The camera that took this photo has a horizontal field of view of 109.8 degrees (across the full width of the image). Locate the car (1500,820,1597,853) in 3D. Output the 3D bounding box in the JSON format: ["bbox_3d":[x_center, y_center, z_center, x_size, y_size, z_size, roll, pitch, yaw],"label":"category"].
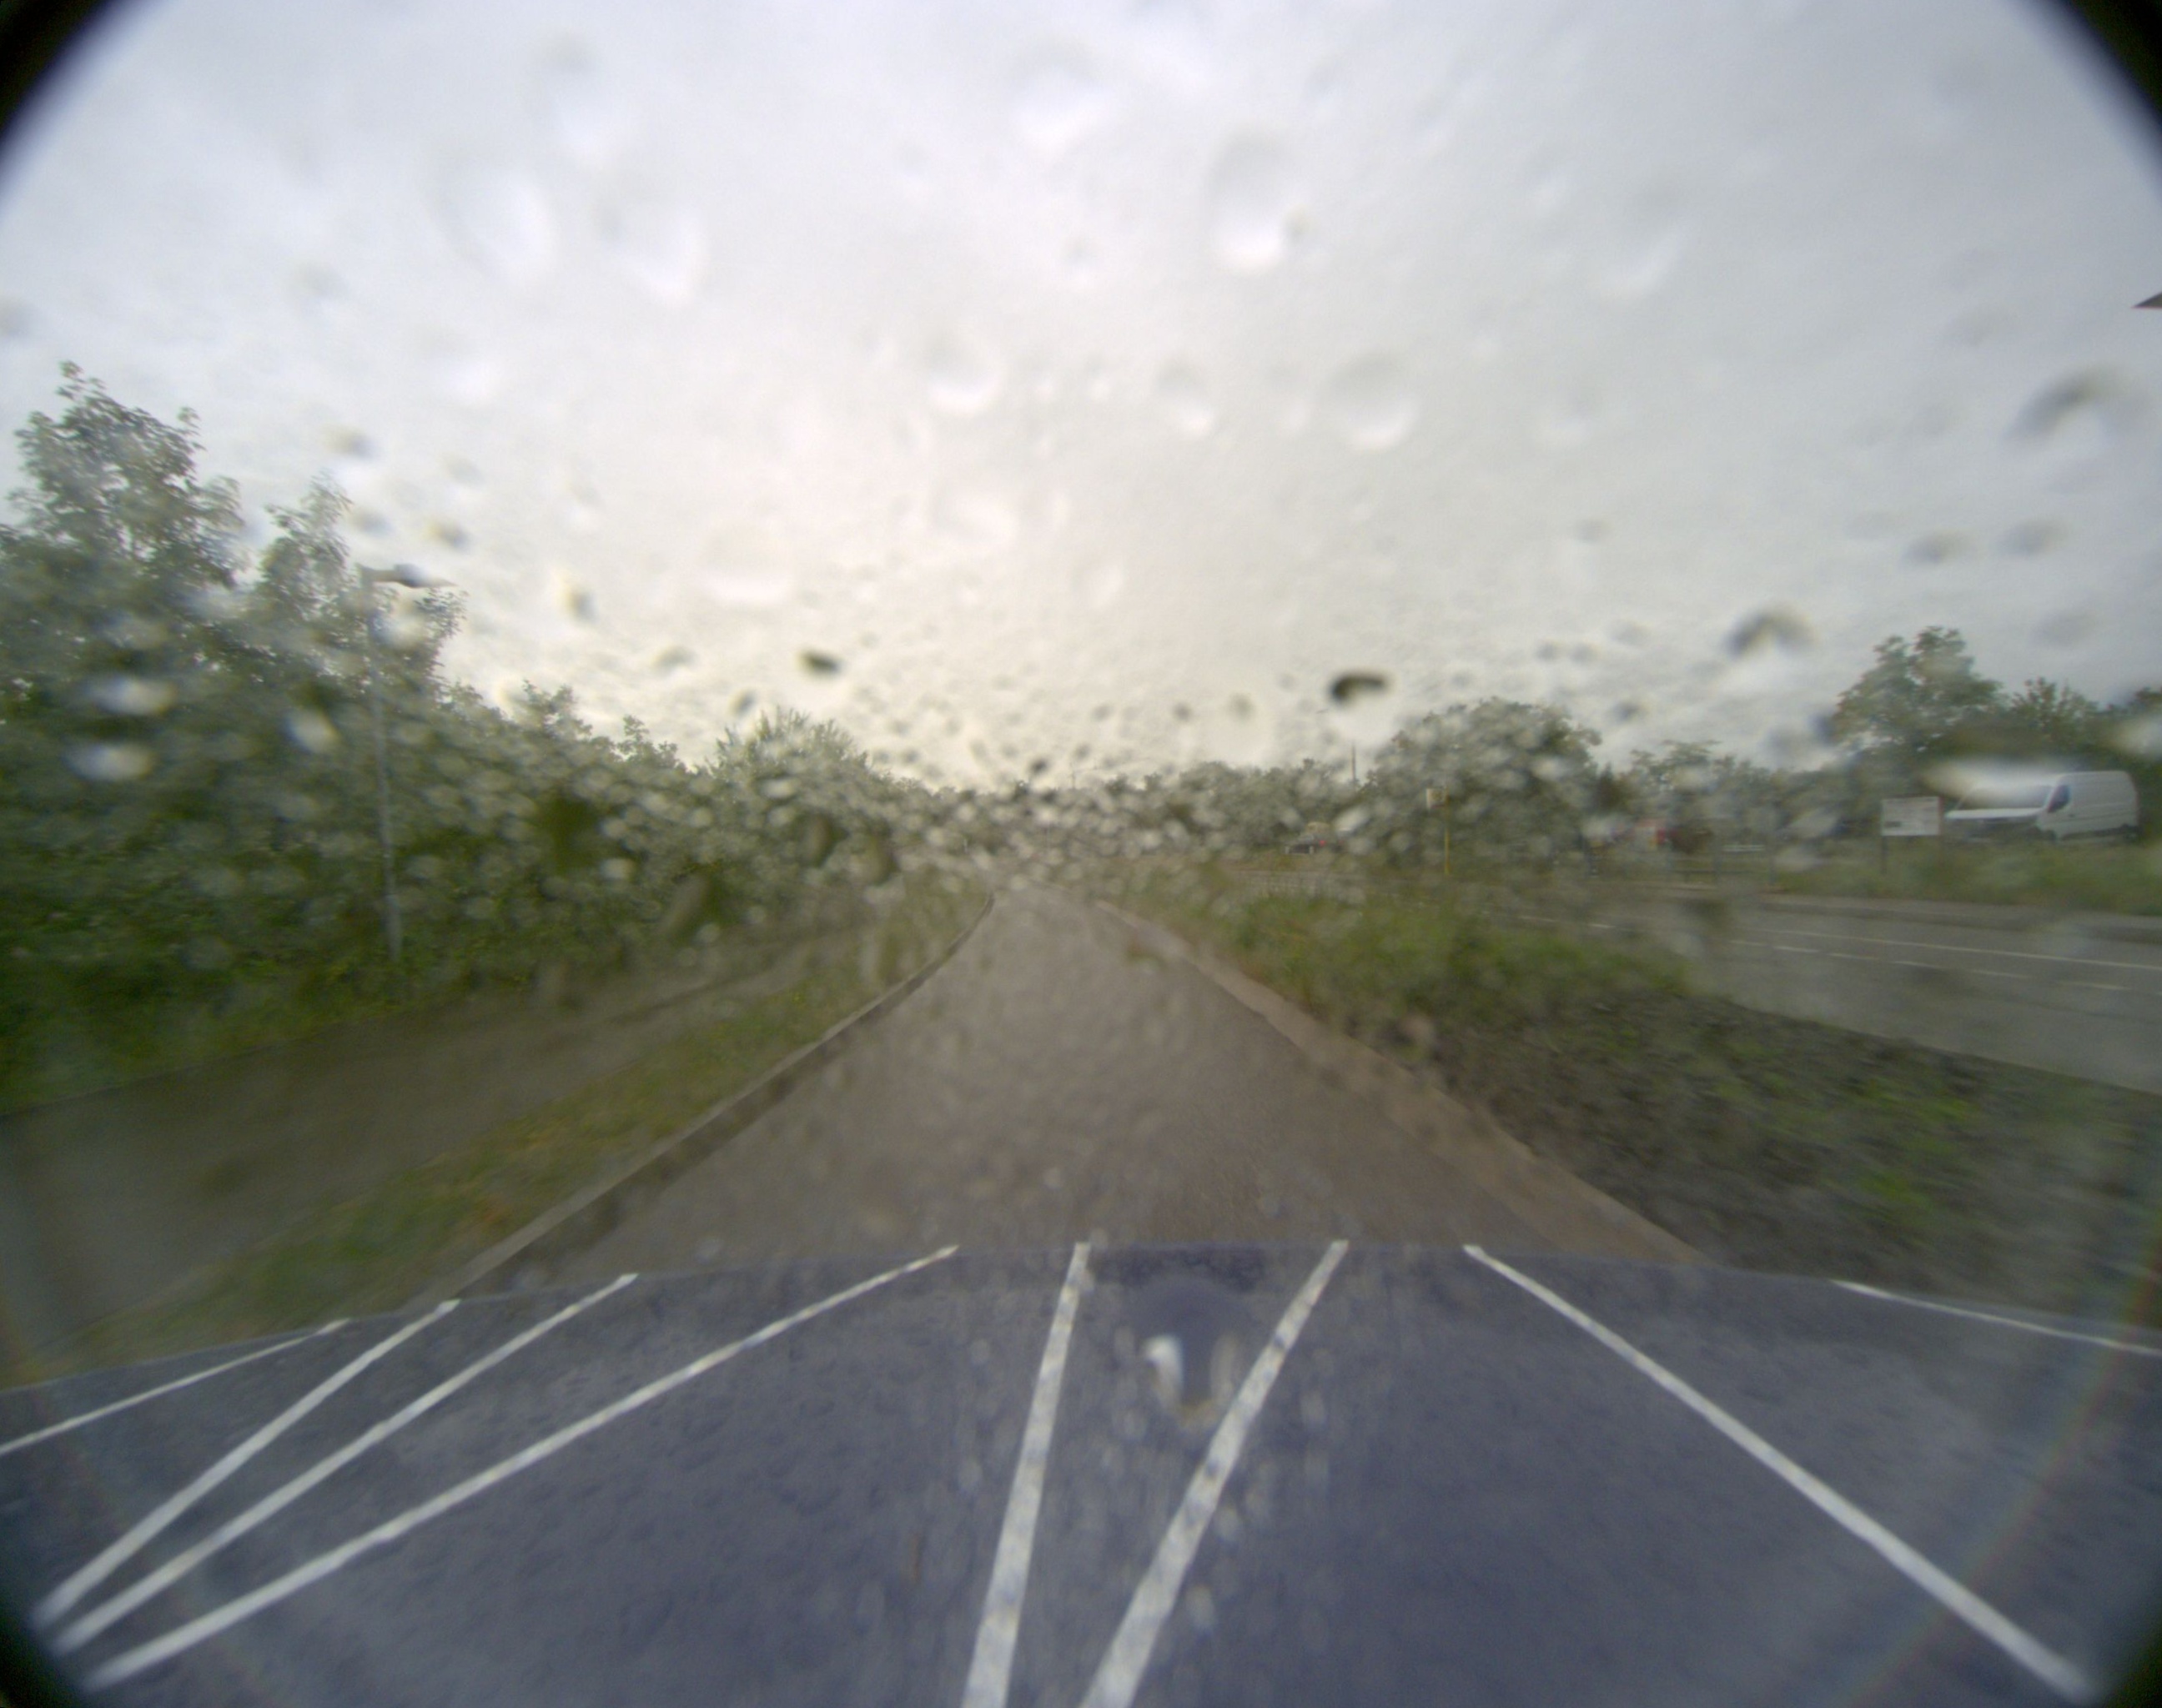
[{"bbox_3d":[24.010,-0.890,39.043,4.001,1.356,1.897,-4,1,-12],"label":"car"}]

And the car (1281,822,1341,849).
[{"bbox_3d":[15.616,-1.197,51.830,1.697,1.559,4.536,-4,0,-15],"label":"car"}]

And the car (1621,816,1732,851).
[{"bbox_3d":[26.798,-0.910,34.229,4.002,1.461,1.845,-1,1,-14],"label":"car"}]

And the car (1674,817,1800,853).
[{"bbox_3d":[26.525,-0.774,30.764,4.001,1.356,1.845,-1,1,-13],"label":"car"}]

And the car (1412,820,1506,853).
[{"bbox_3d":[21.962,-1.014,44.161,4.723,1.683,2.002,-3,1,-15],"label":"car"}]

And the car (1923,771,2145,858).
[{"bbox_3d":[29.699,-1.270,23.678,6.581,2.384,2.135,-3,3,-18],"label":"car"}]

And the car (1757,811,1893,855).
[{"bbox_3d":[27.574,-0.781,28.191,4.001,1.356,1.651,-4,1,-13],"label":"car"}]
